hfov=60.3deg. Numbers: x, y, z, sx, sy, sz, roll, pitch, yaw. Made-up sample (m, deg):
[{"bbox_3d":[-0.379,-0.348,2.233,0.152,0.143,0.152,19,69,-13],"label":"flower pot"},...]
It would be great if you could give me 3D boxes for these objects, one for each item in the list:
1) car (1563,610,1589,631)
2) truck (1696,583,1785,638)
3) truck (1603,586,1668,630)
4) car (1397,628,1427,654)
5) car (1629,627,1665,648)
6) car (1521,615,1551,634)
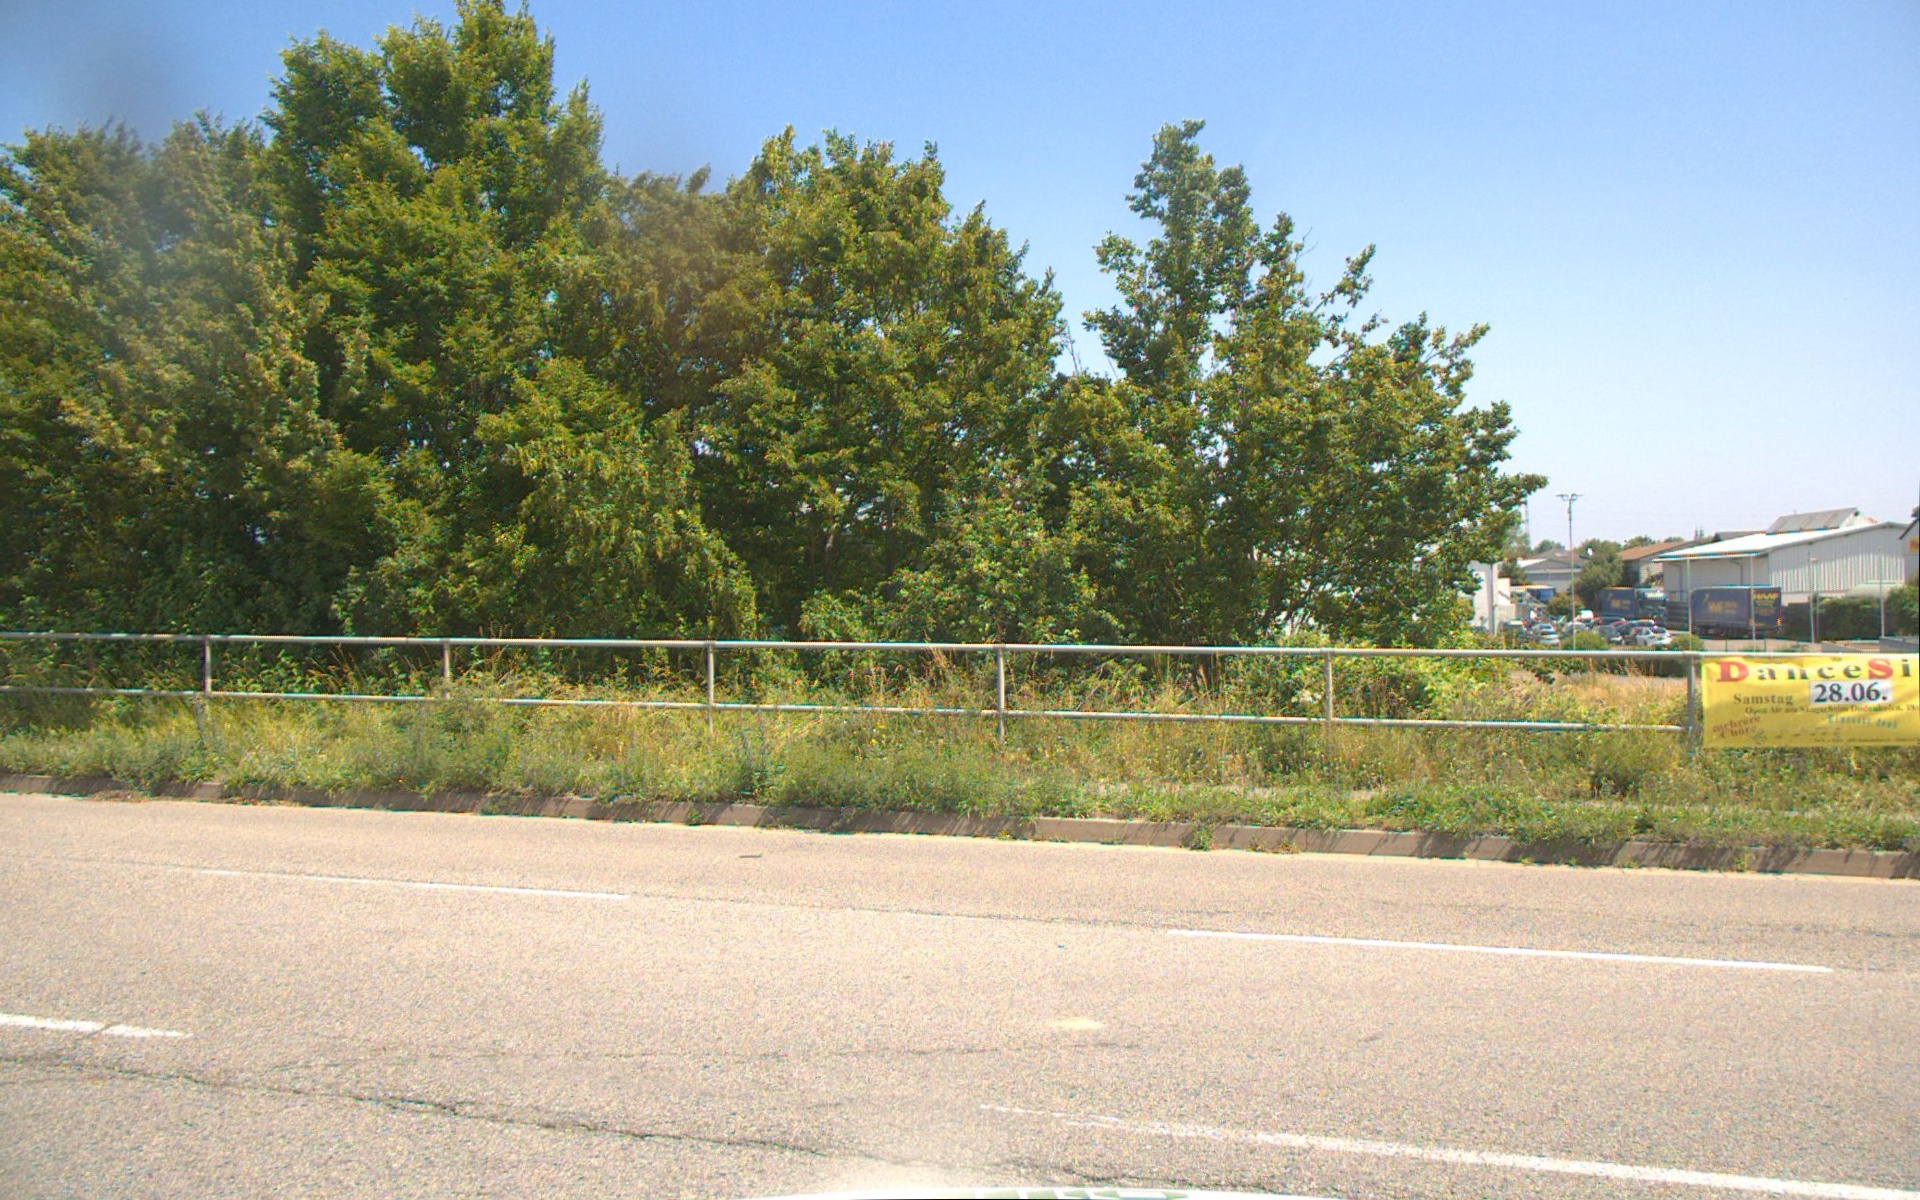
[{"bbox_3d":[60.893,2.010,163.492,1.680,2.049,4.003,-1,0,10],"label":"car"},{"bbox_3d":[64.841,0.821,137.804,3.629,4.386,13.353,0,0,11],"label":"truck"},{"bbox_3d":[70.168,0.817,172.076,3.339,4.386,14.605,0,0,10],"label":"truck"},{"bbox_3d":[39.029,3.526,142.809,1.951,2.049,4.867,0,0,9],"label":"car"},{"bbox_3d":[51.595,2.805,124.308,1.647,1.387,3.839,-3,-1,10],"label":"car"},{"bbox_3d":[55.288,2.361,158.849,1.951,1.761,4.867,0,0,9],"label":"car"}]
